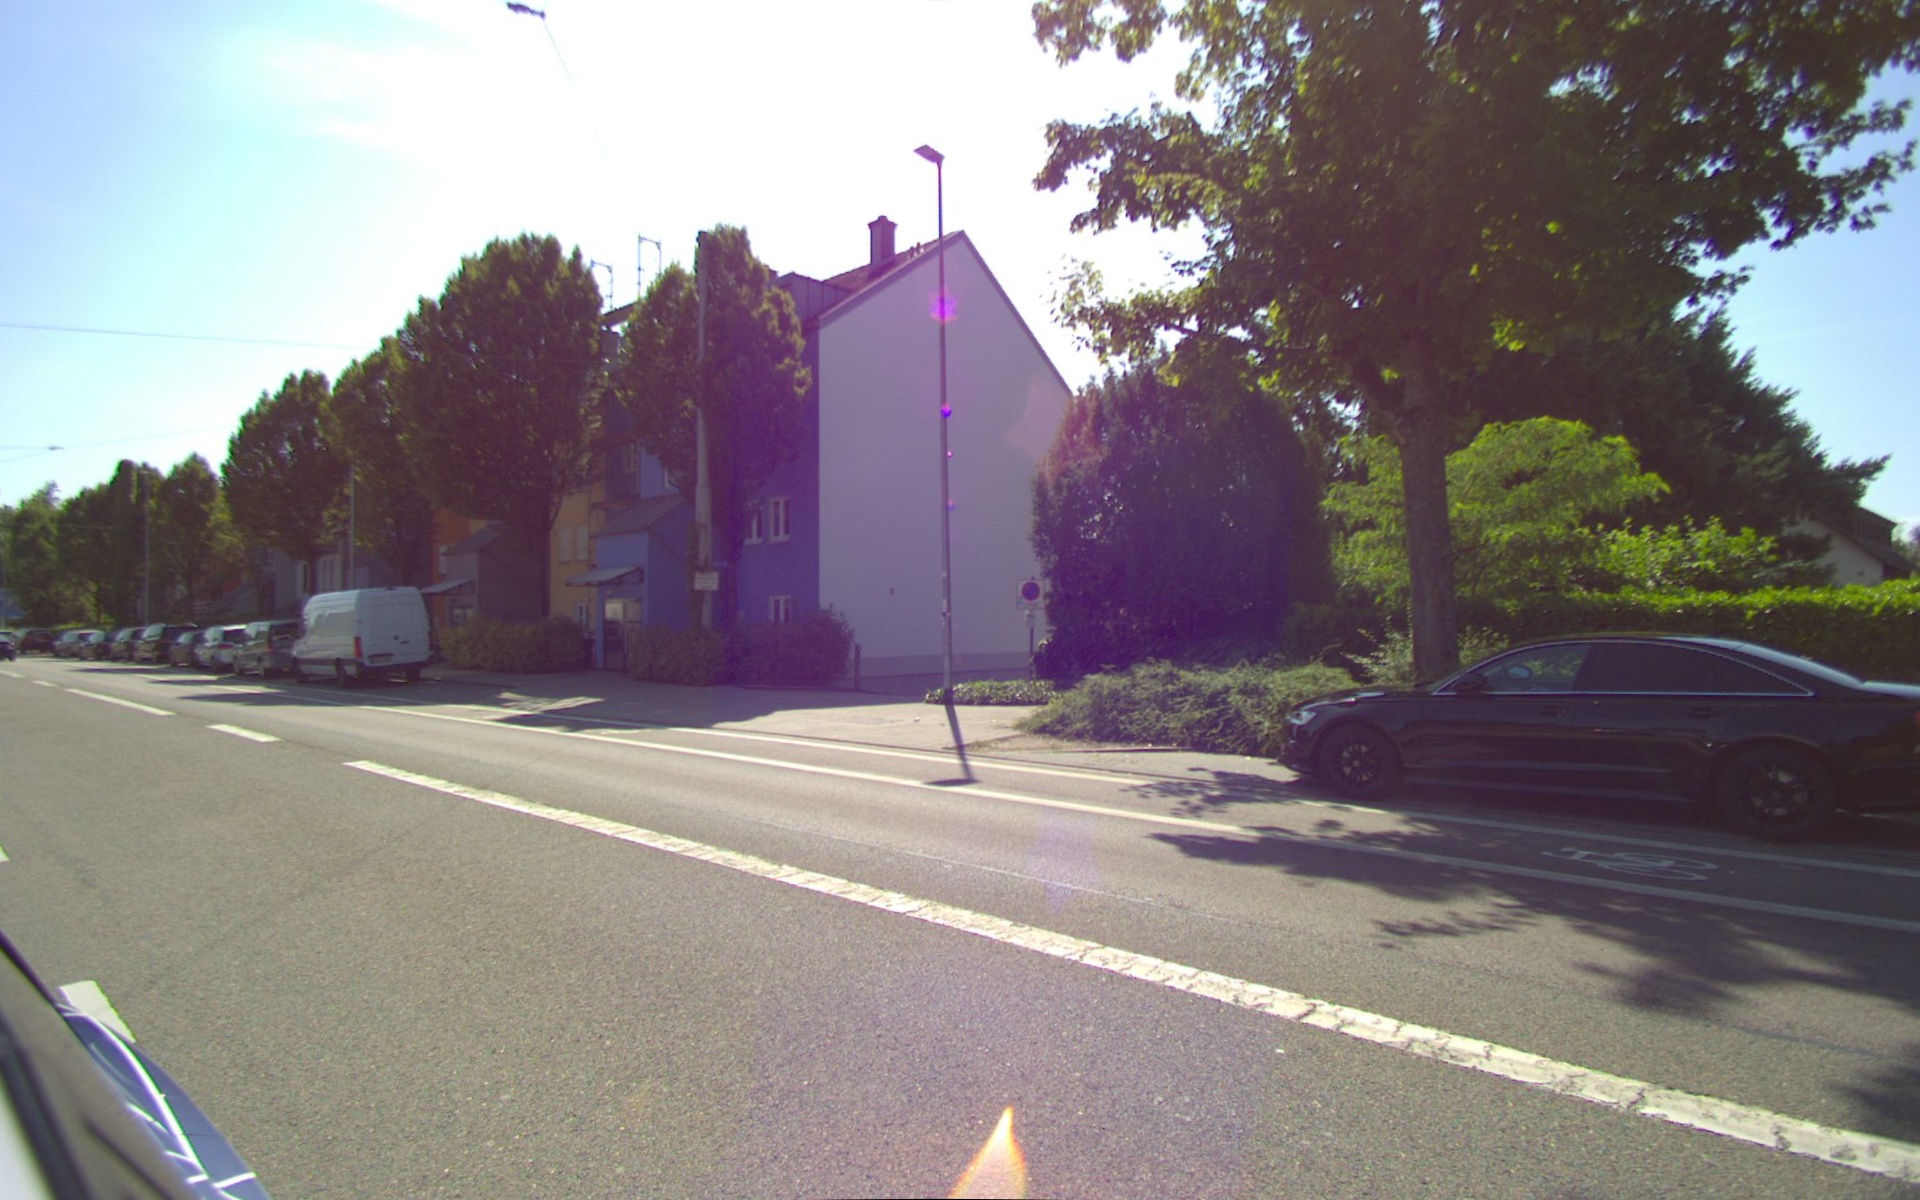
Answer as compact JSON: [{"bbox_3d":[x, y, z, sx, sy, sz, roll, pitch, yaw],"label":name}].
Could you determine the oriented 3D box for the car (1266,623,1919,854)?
[{"bbox_3d":[5.278,0.952,8.436,4.904,1.477,1.822,-2,-2,39],"label":"car"}]

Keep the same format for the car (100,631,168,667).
[{"bbox_3d":[-39.635,2.321,48.545,4.161,1.619,1.661,-1,0,39],"label":"car"}]

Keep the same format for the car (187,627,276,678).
[{"bbox_3d":[-27.629,1.931,38.327,4.540,1.715,1.828,-1,2,43],"label":"car"}]

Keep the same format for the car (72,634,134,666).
[{"bbox_3d":[-44.262,2.543,52.228,4.209,1.481,1.661,-1,0,39],"label":"car"}]

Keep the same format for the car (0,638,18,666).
[{"bbox_3d":[-44.360,2.363,46.173,4.063,1.254,1.669,-2,-3,42],"label":"car"}]

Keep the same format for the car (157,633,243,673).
[{"bbox_3d":[-31.482,2.149,41.903,4.071,1.466,1.849,-1,2,39],"label":"car"}]

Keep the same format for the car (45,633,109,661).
[{"bbox_3d":[-49.494,2.625,56.710,4.828,1.457,1.662,-1,0,36],"label":"car"}]

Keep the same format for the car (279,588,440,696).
[{"bbox_3d":[-17.395,1.142,29.098,7.086,2.697,1.972,-2,1,43],"label":"car"}]

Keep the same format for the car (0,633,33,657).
[{"bbox_3d":[-64.452,3.027,68.313,4.124,1.510,2.016,-1,0,36],"label":"car"}]

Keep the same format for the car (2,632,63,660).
[{"bbox_3d":[-58.276,2.860,63.579,4.921,1.588,1.888,-1,0,36],"label":"car"}]

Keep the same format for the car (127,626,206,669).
[{"bbox_3d":[-35.520,2.079,45.284,4.345,1.741,1.812,-1,0,39],"label":"car"}]

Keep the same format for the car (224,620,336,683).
[{"bbox_3d":[-23.342,1.720,34.676,4.965,1.879,1.973,-2,2,42],"label":"car"}]
